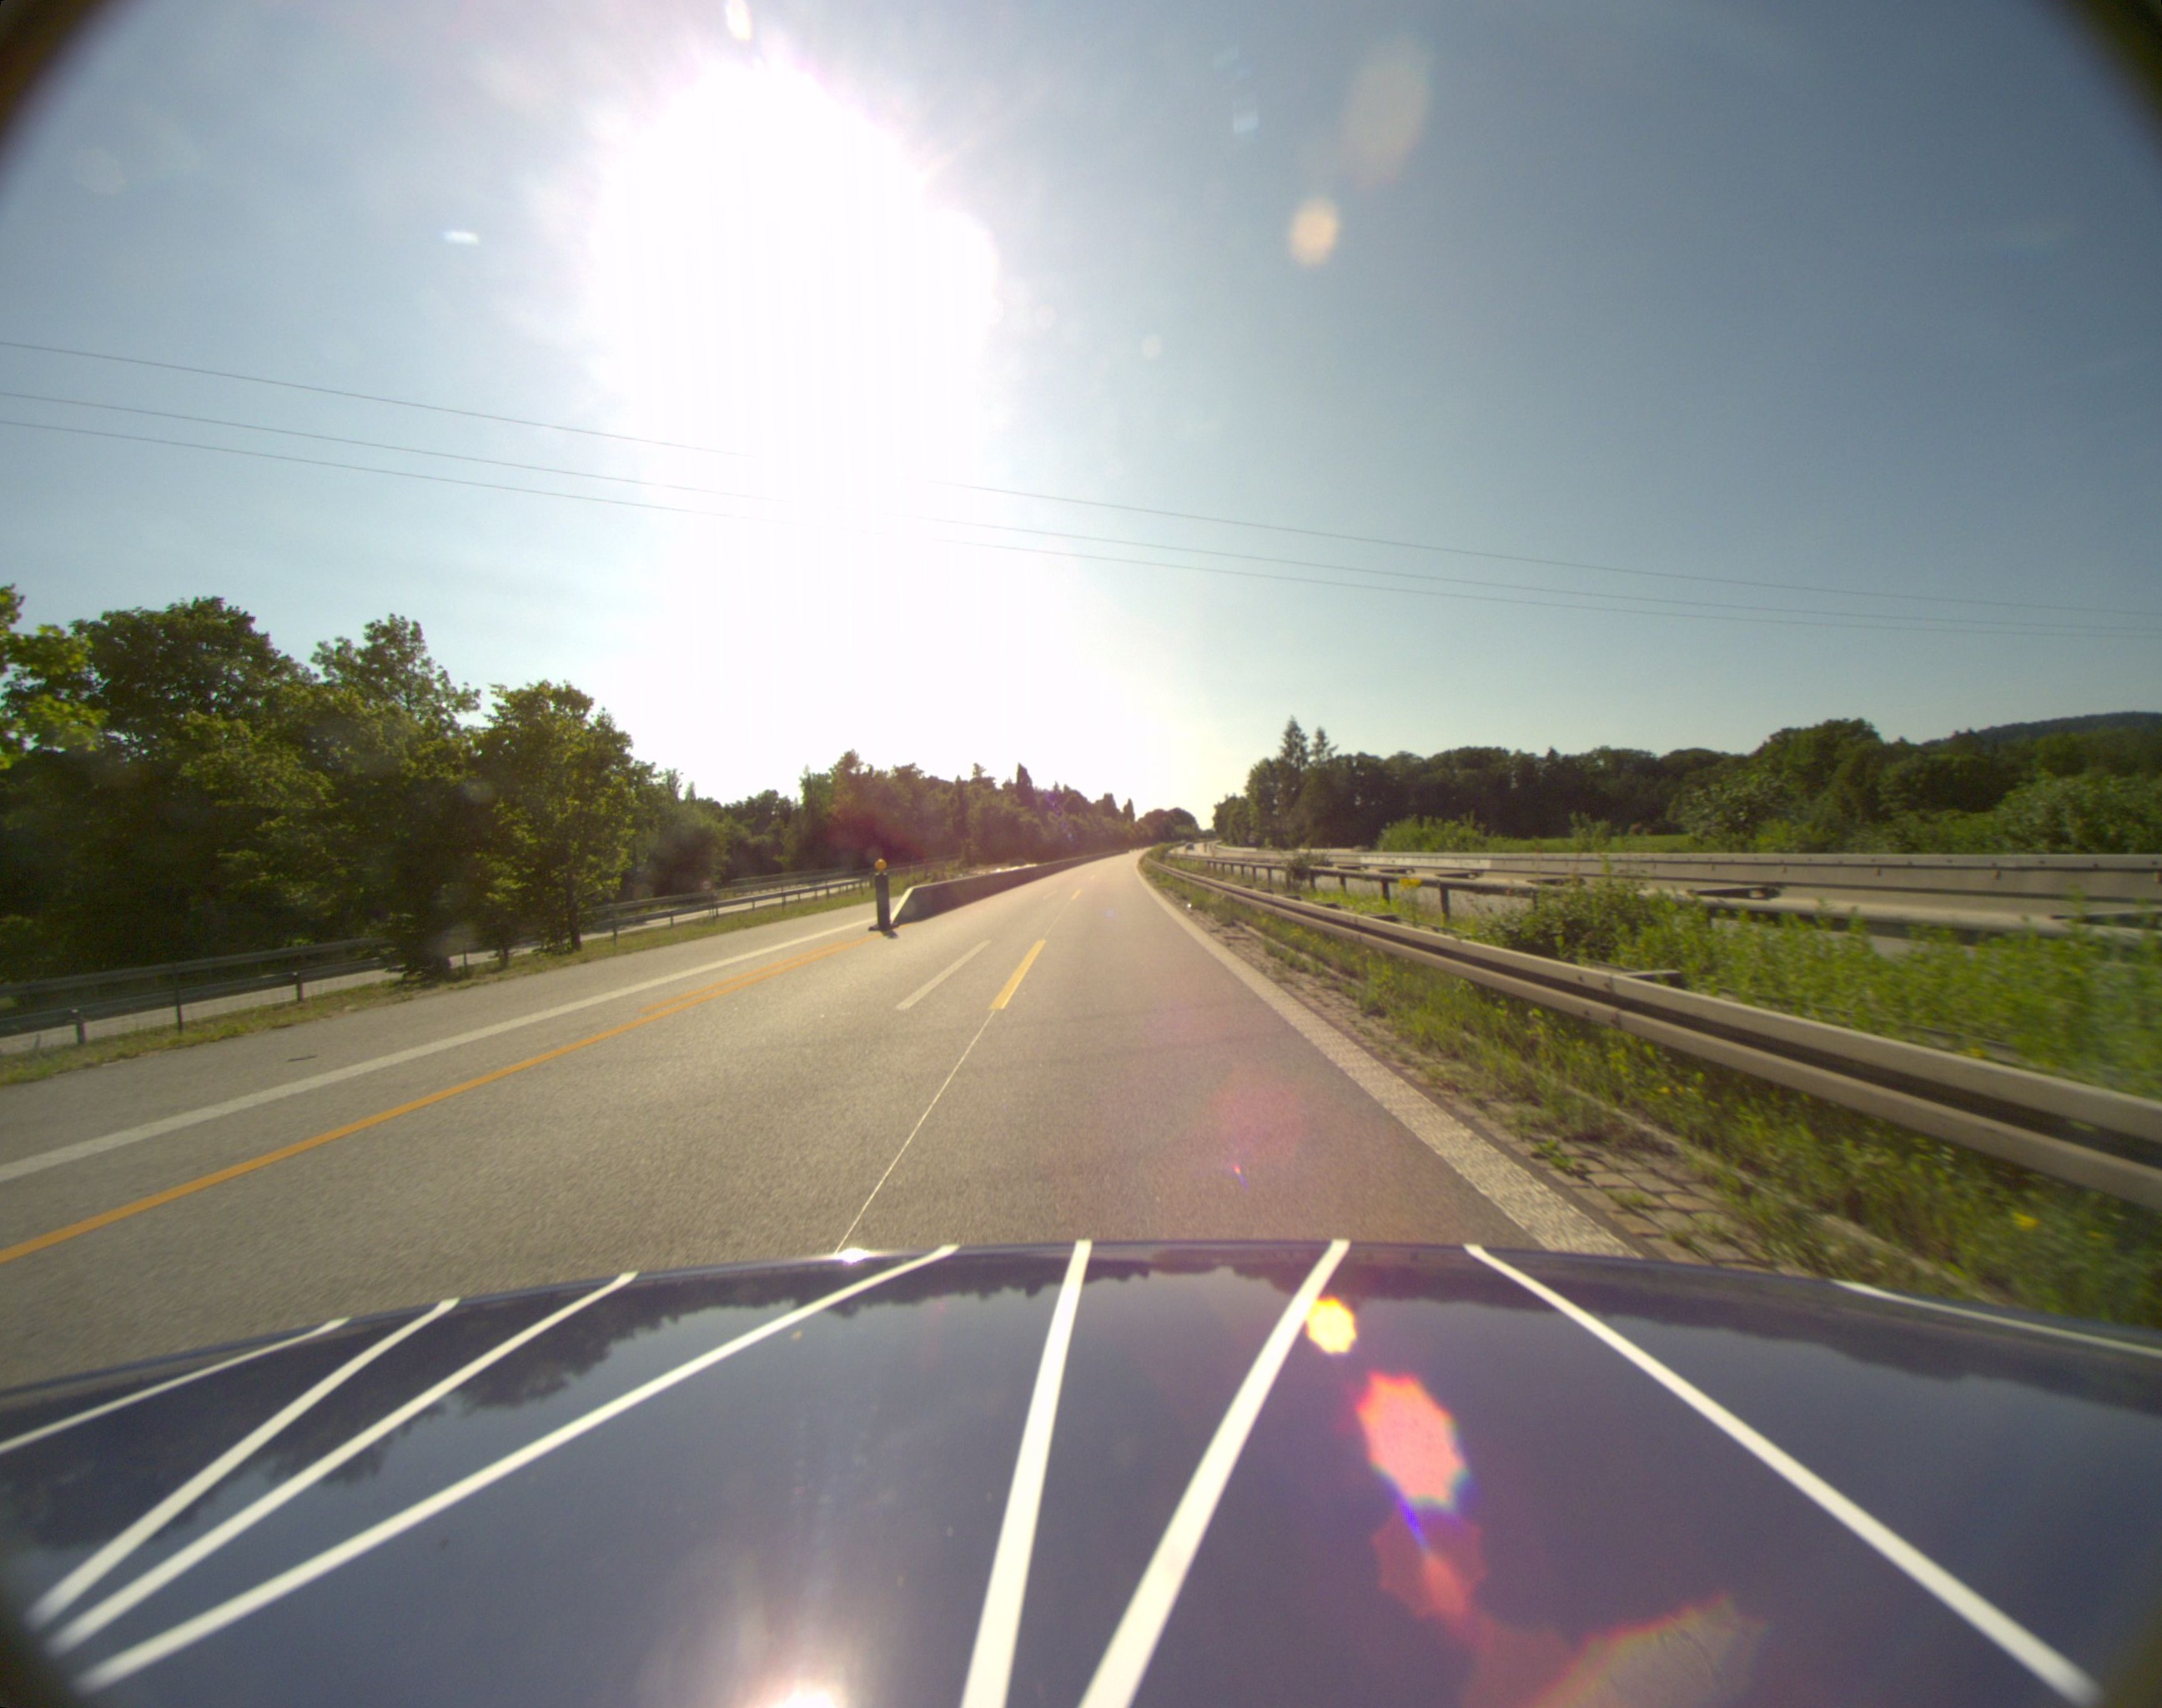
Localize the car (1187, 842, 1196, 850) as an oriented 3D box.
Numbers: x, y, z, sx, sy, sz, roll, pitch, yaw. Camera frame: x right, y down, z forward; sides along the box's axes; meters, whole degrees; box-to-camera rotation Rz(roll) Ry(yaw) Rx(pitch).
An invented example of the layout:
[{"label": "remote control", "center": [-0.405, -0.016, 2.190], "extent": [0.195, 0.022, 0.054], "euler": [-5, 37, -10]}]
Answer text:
[{"label": "car", "center": [23.109, -1.627, 159.561], "extent": [1.763, 1.503, 4.536], "euler": [-2, 1, 7]}]
